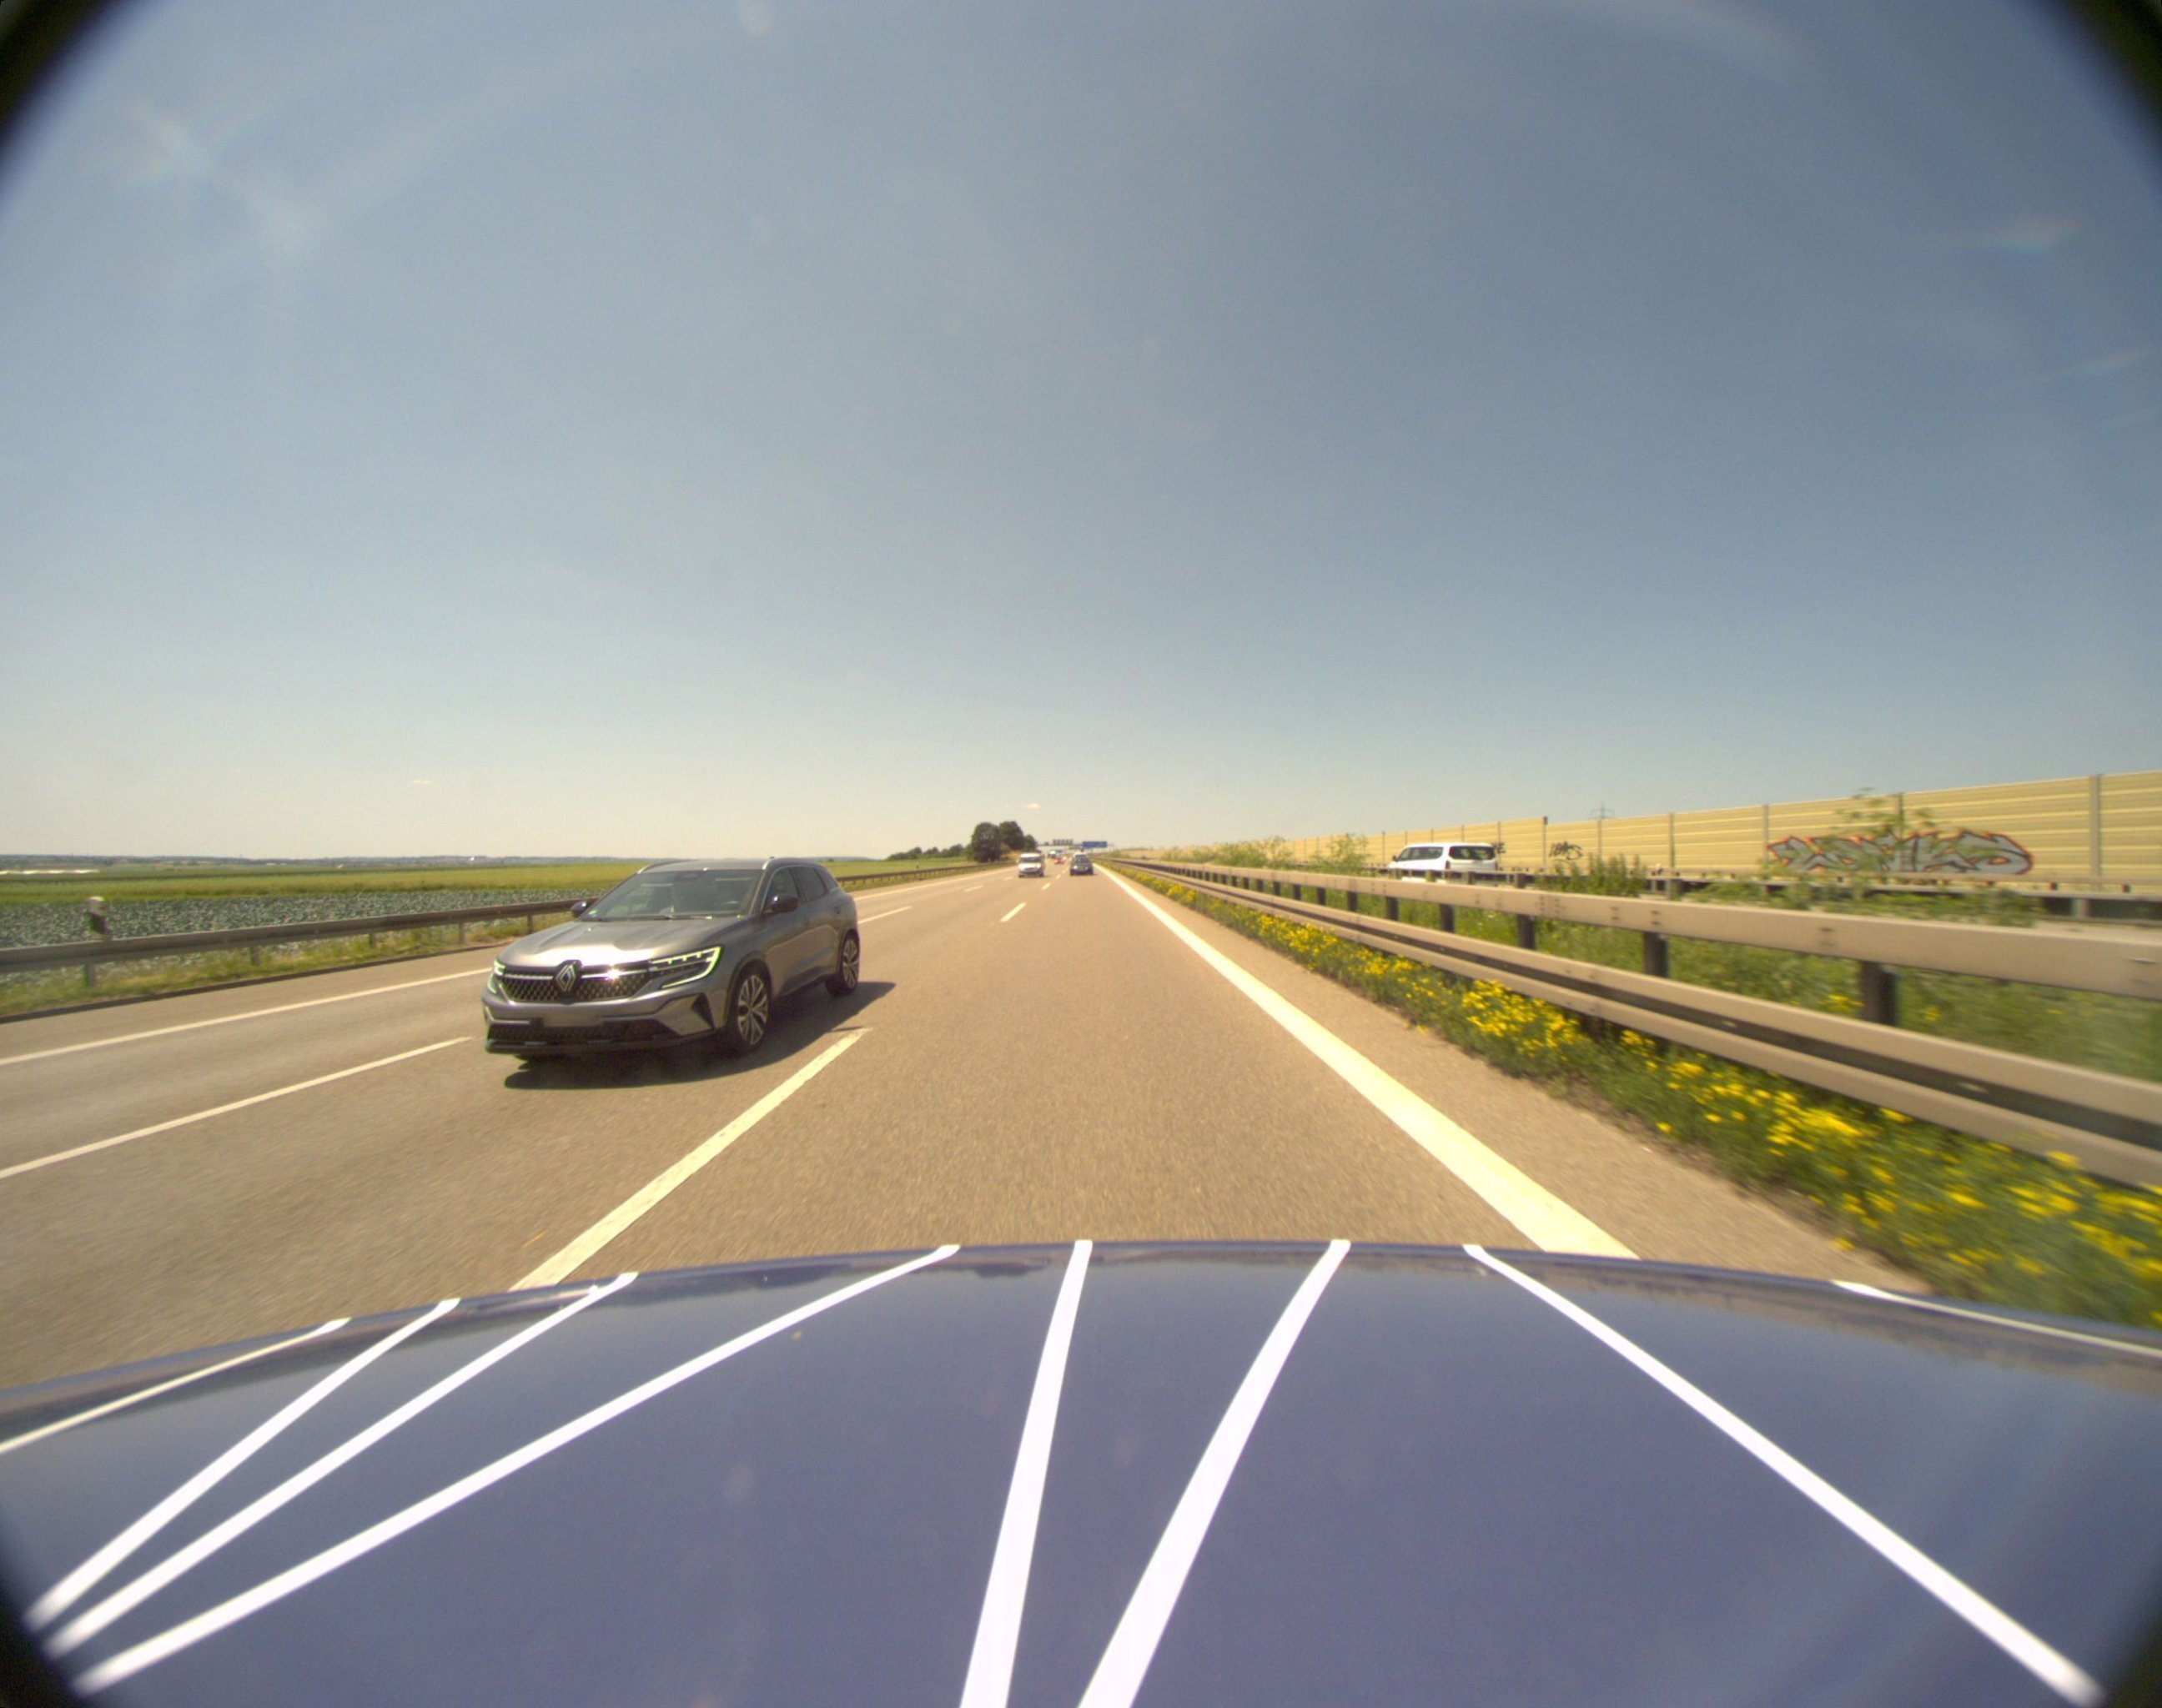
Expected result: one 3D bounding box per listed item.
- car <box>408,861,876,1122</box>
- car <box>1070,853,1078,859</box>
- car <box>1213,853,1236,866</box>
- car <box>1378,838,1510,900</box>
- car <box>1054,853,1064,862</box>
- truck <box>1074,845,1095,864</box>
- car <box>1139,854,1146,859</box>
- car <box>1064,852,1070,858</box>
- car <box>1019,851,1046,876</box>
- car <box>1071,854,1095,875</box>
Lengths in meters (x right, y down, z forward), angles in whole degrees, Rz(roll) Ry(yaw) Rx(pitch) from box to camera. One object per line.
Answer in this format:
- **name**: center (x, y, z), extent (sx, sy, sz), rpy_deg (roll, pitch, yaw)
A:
- **car**: center (-3.552, 0.941, 7.402), extent (1.856, 1.639, 4.644), rpy_deg (0, 1, 0)
- **car**: center (-1.712, 0.456, 183.988), extent (1.724, 1.514, 3.581), rpy_deg (-3, 1, -2)
- **car**: center (18.090, 0.678, 95.967), extent (1.998, 1.412, 4.000), rpy_deg (-2, 0, 0)
- **car**: center (13.171, 0.481, 28.109), extent (1.998, 1.950, 5.913), rpy_deg (-3, 0, 0)
- **car**: center (-4.173, 0.642, 146.262), extent (1.723, 1.514, 3.582), rpy_deg (-2, 1, 1)
- **truck**: center (0.388, 0.046, 99.061), extent (2.334, 2.378, 6.685), rpy_deg (-3, 1, -2)
- **car**: center (17.054, 0.669, 210.883), extent (1.723, 1.401, 4.484), rpy_deg (-3, 0, 0)
- **car**: center (-3.908, 0.354, 210.031), extent (1.724, 1.514, 3.581), rpy_deg (-3, 1, -2)
- **car**: center (-3.726, 0.705, 59.051), extent (1.812, 1.836, 5.311), rpy_deg (-2, 0, -2)
- **car**: center (0.095, 0.805, 59.387), extent (1.715, 1.586, 4.546), rpy_deg (0, 0, -2)
